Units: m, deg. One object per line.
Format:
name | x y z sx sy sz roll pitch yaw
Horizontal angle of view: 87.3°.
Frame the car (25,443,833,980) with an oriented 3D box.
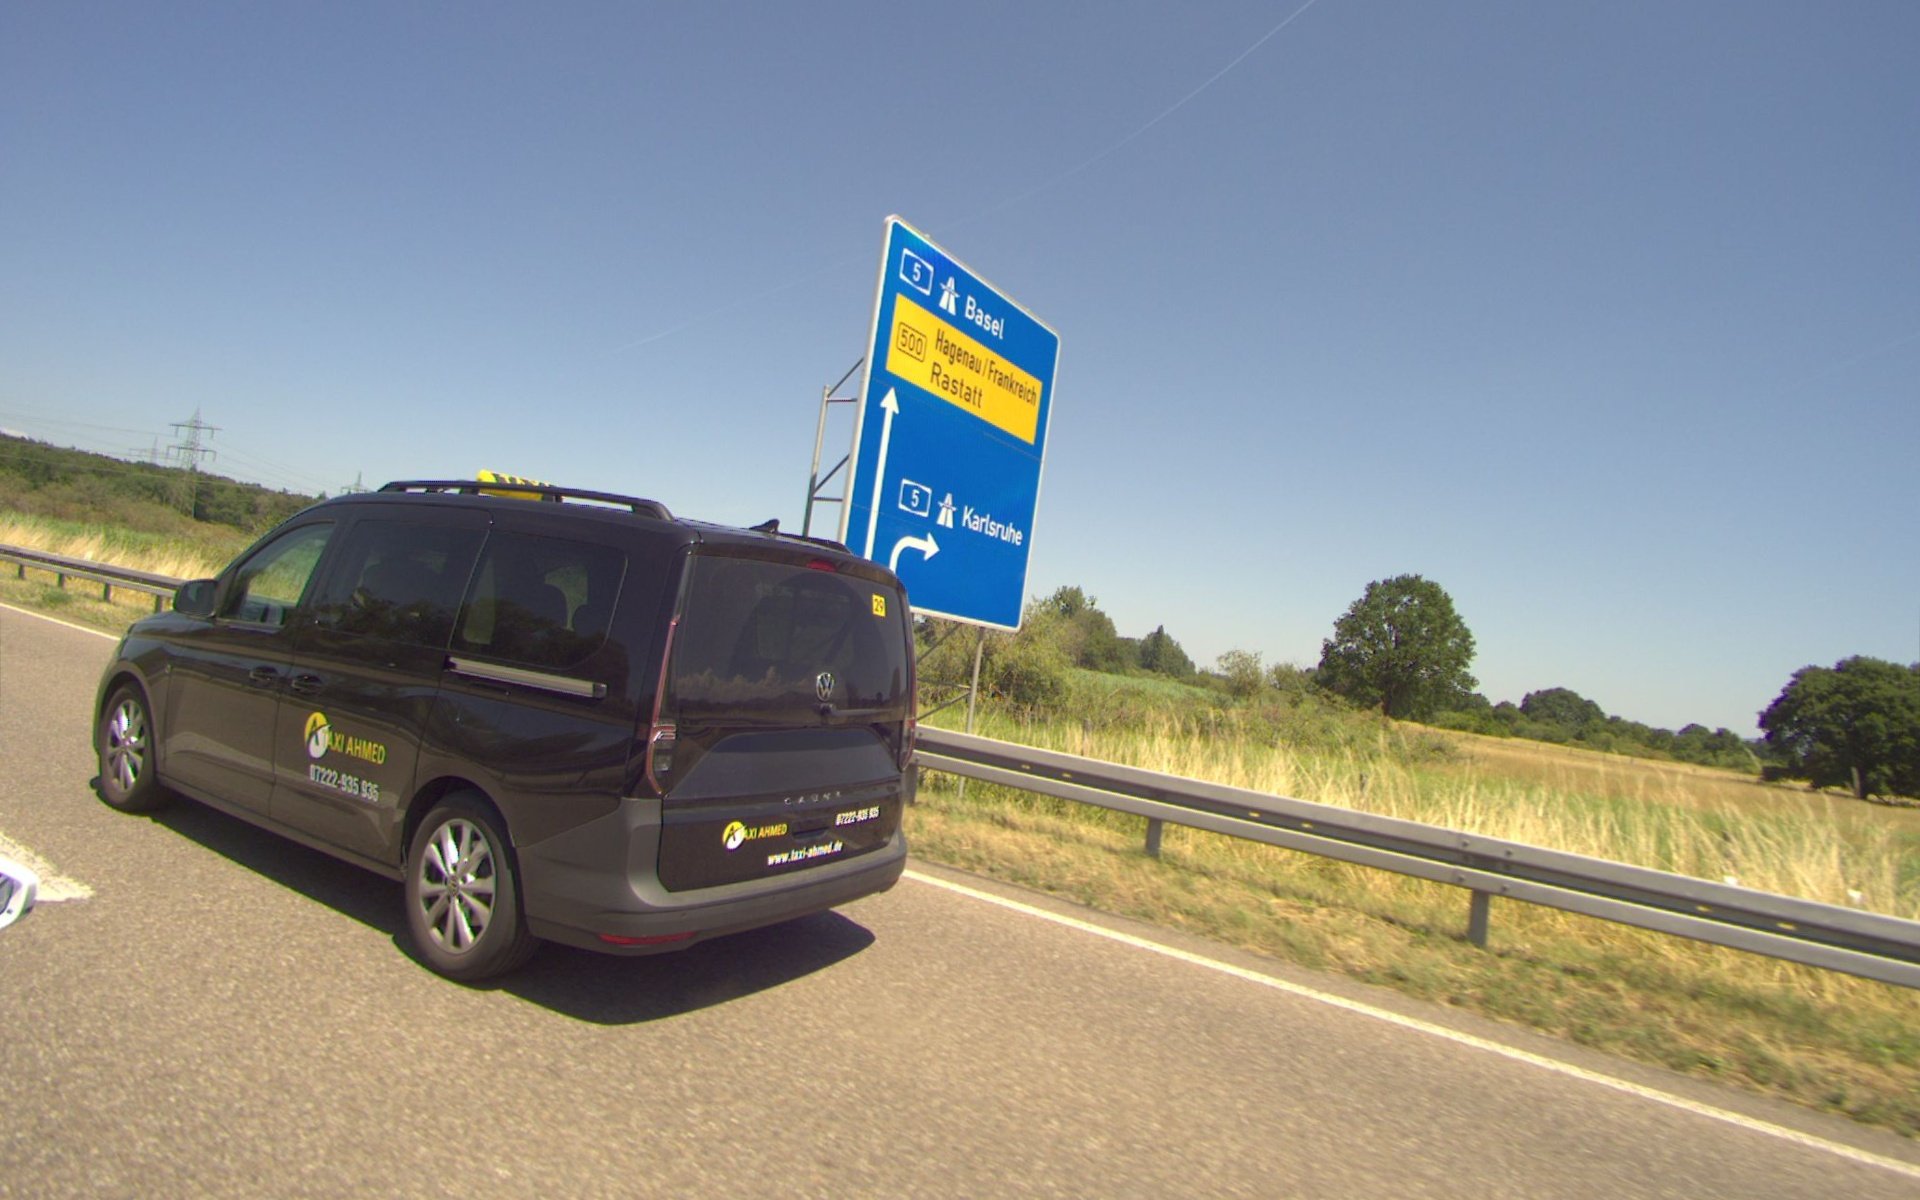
car | -2.964 0.315 5.393 4.142 1.838 1.784 7 -2 31
